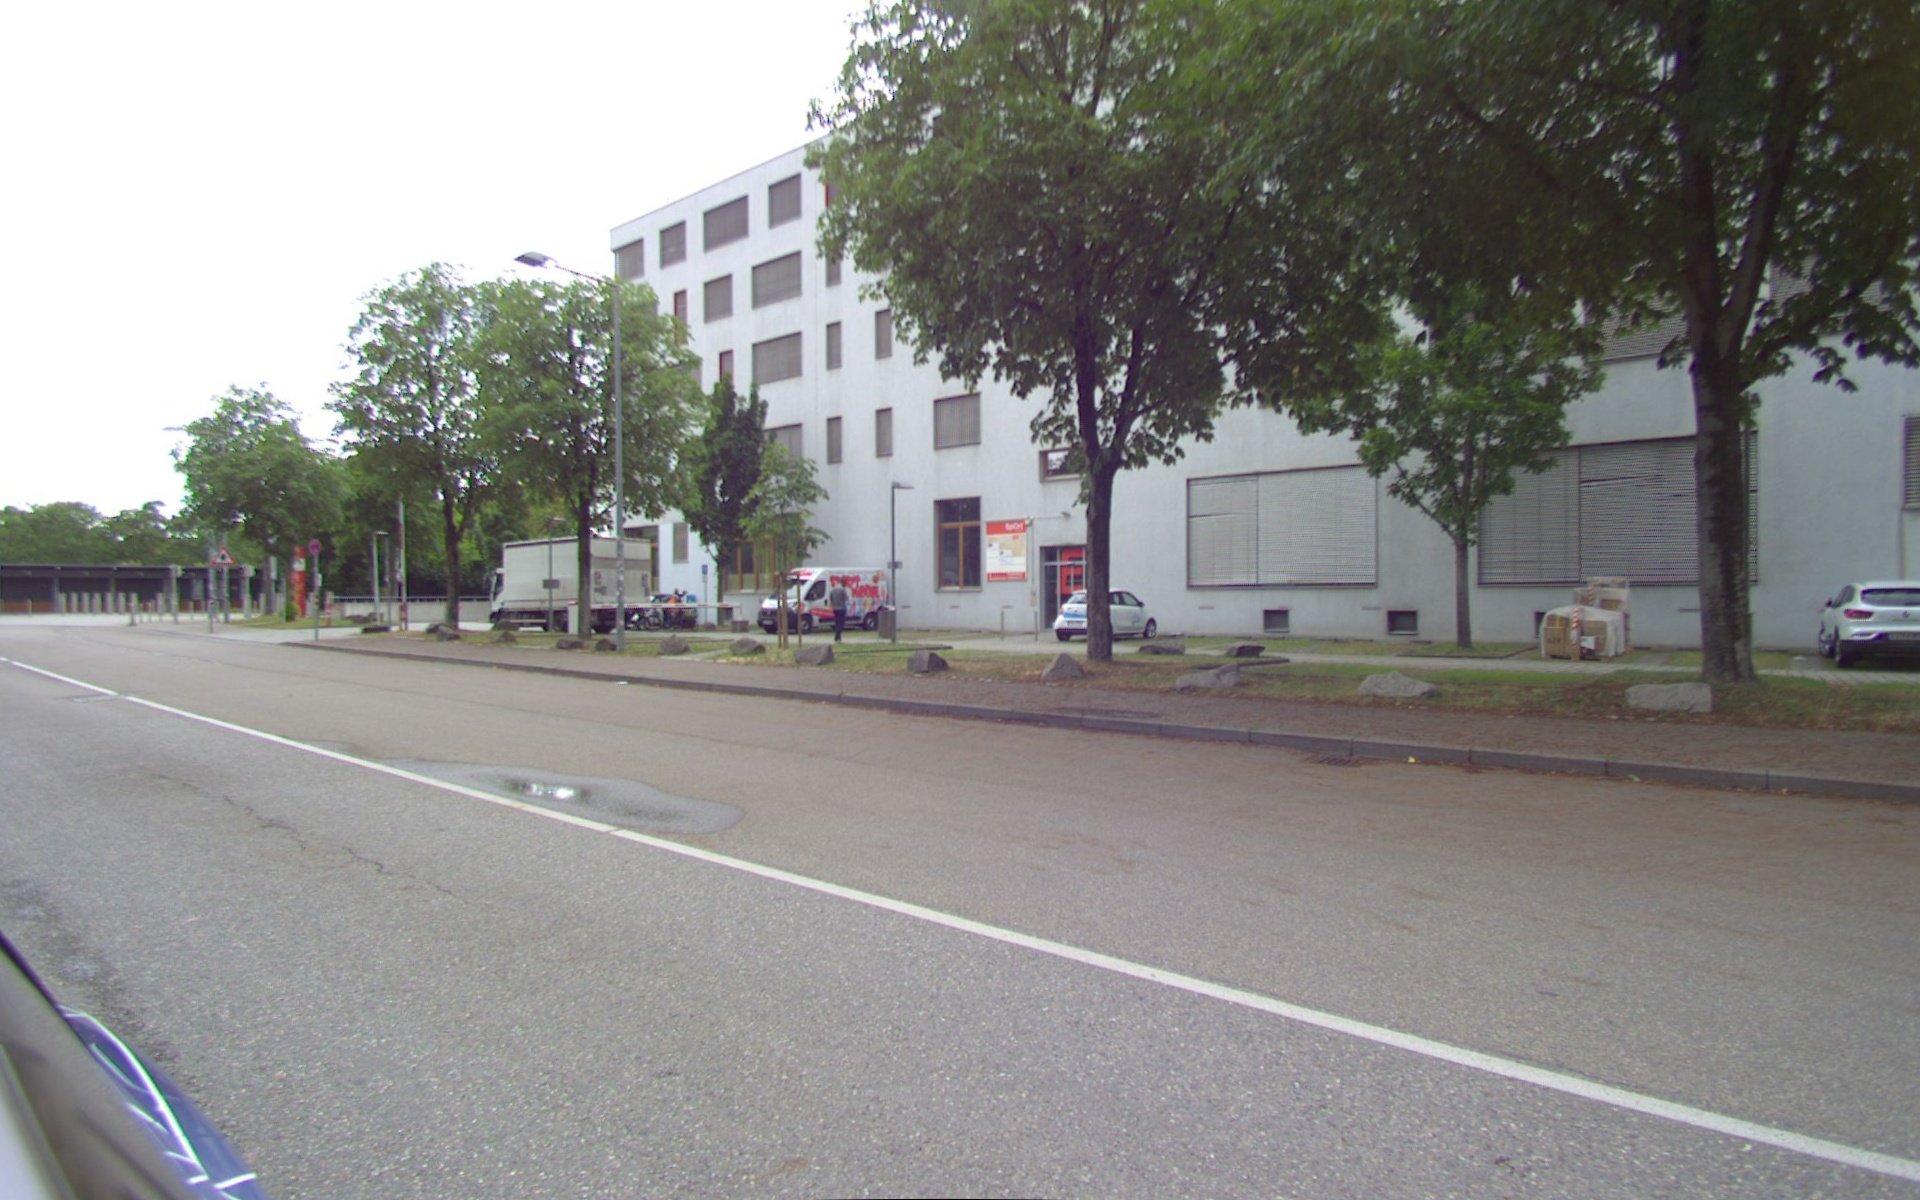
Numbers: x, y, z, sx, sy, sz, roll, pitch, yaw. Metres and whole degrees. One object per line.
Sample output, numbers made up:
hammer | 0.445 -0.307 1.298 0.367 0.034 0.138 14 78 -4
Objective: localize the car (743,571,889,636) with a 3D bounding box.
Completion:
car | -5.363 0.072 38.524 2.078 2.295 5.569 1 2 40

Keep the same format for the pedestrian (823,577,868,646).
pedestrian | -2.862 0.274 25.347 0.784 1.684 0.836 1 1 34

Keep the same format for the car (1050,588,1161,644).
car | 4.394 0.431 30.281 1.691 1.511 3.575 1 2 40

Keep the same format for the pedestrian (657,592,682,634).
pedestrian | -11.385 0.489 39.671 0.872 1.618 0.682 -1 1 -24

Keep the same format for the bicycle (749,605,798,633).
bicycle | -7.684 0.773 41.803 0.614 1.078 2.002 1 2 44

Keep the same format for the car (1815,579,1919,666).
car | 17.513 0.357 19.023 1.896 1.467 3.962 1 2 36

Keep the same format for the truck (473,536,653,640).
truck | -15.484 -0.499 39.115 8.354 3.627 2.651 1 2 38
